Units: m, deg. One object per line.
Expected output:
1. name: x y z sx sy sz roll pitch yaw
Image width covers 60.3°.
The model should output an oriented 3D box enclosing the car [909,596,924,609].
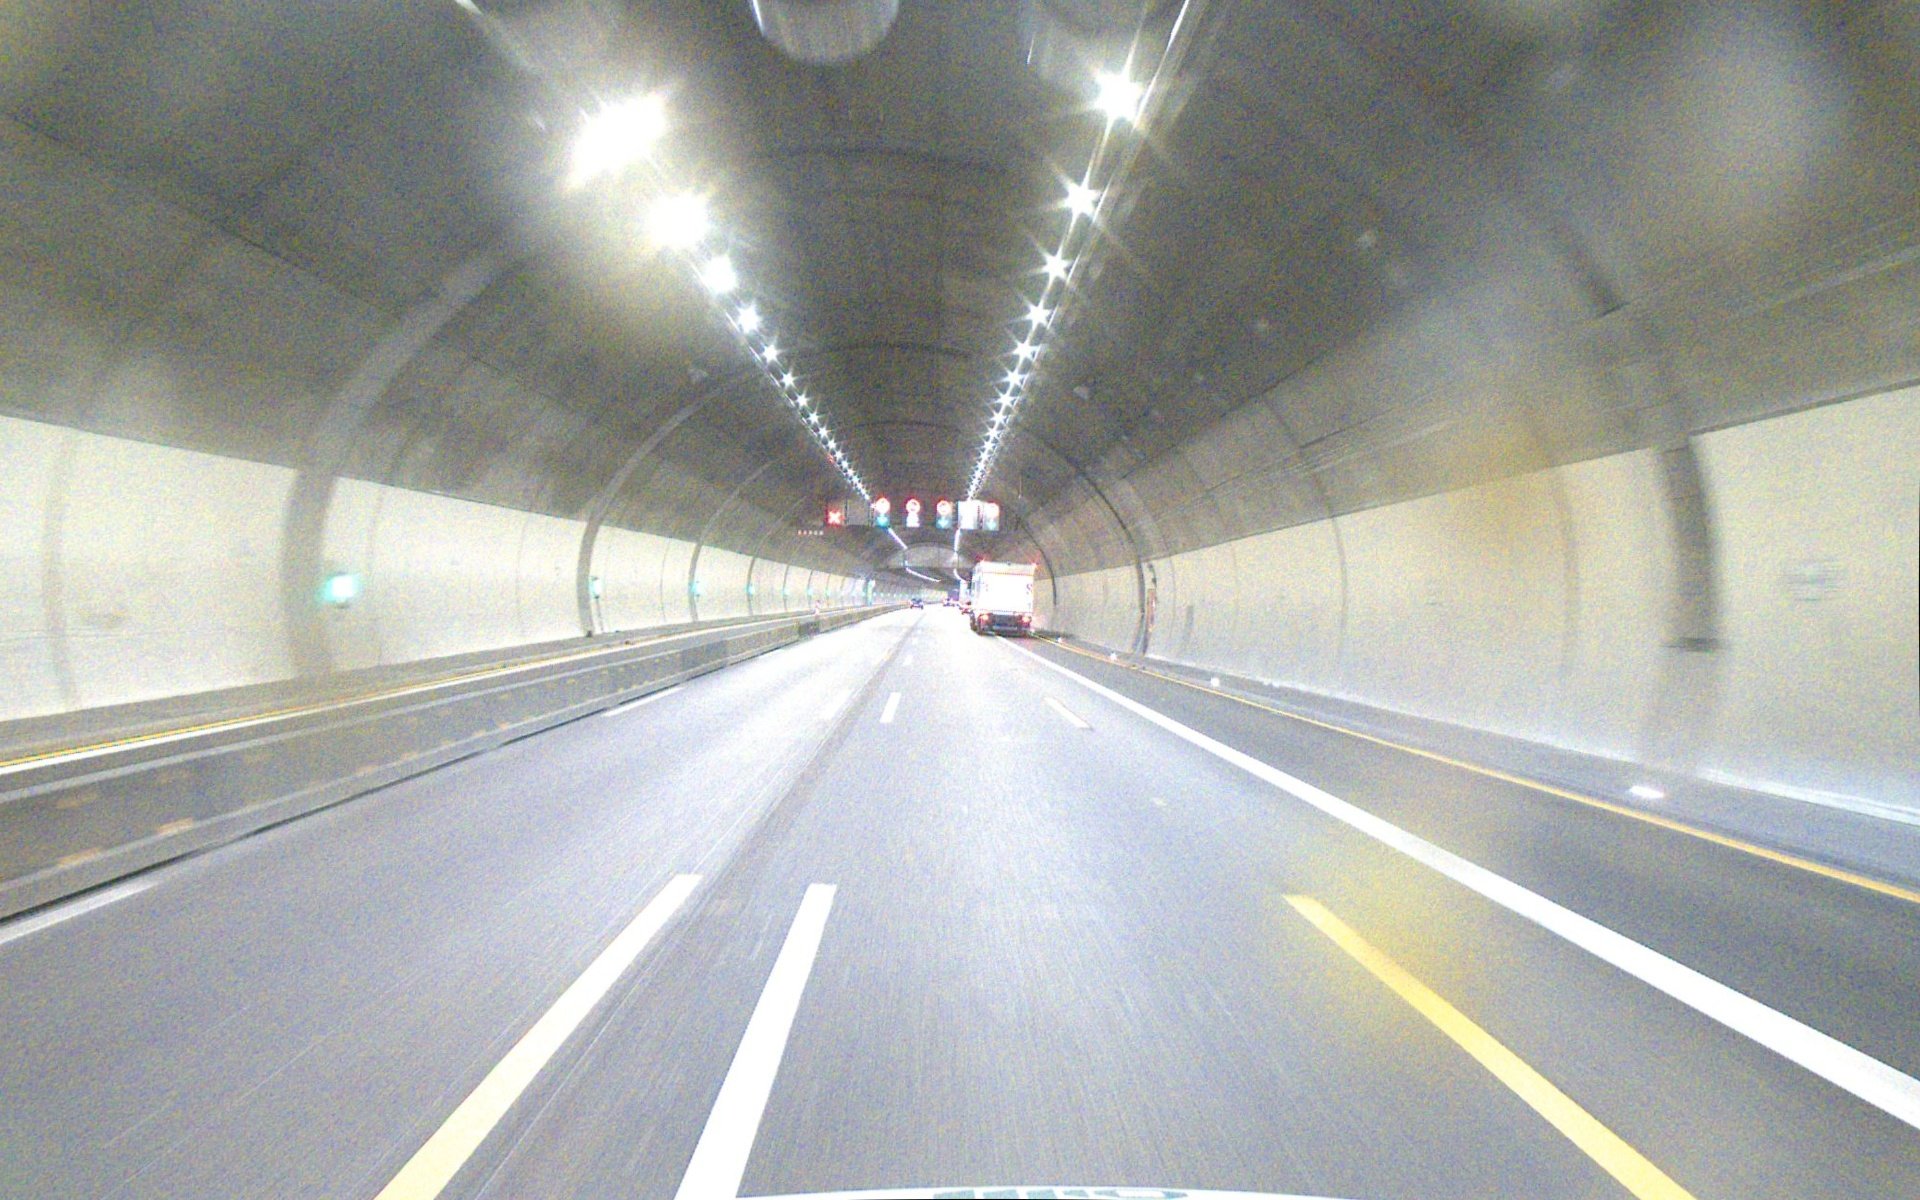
1. car: -5.393 0.280 203.575 1.723 1.486 4.118 2 1 0

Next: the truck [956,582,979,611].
1. truck: 1.123 -0.462 239.760 3.003 3.986 10.368 2 -1 1

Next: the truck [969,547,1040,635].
1. truck: 2.079 -0.356 81.280 3.029 3.986 10.366 2 -1 0

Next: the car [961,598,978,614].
1. car: 0.967 0.626 170.226 1.703 1.486 3.961 2 1 1
